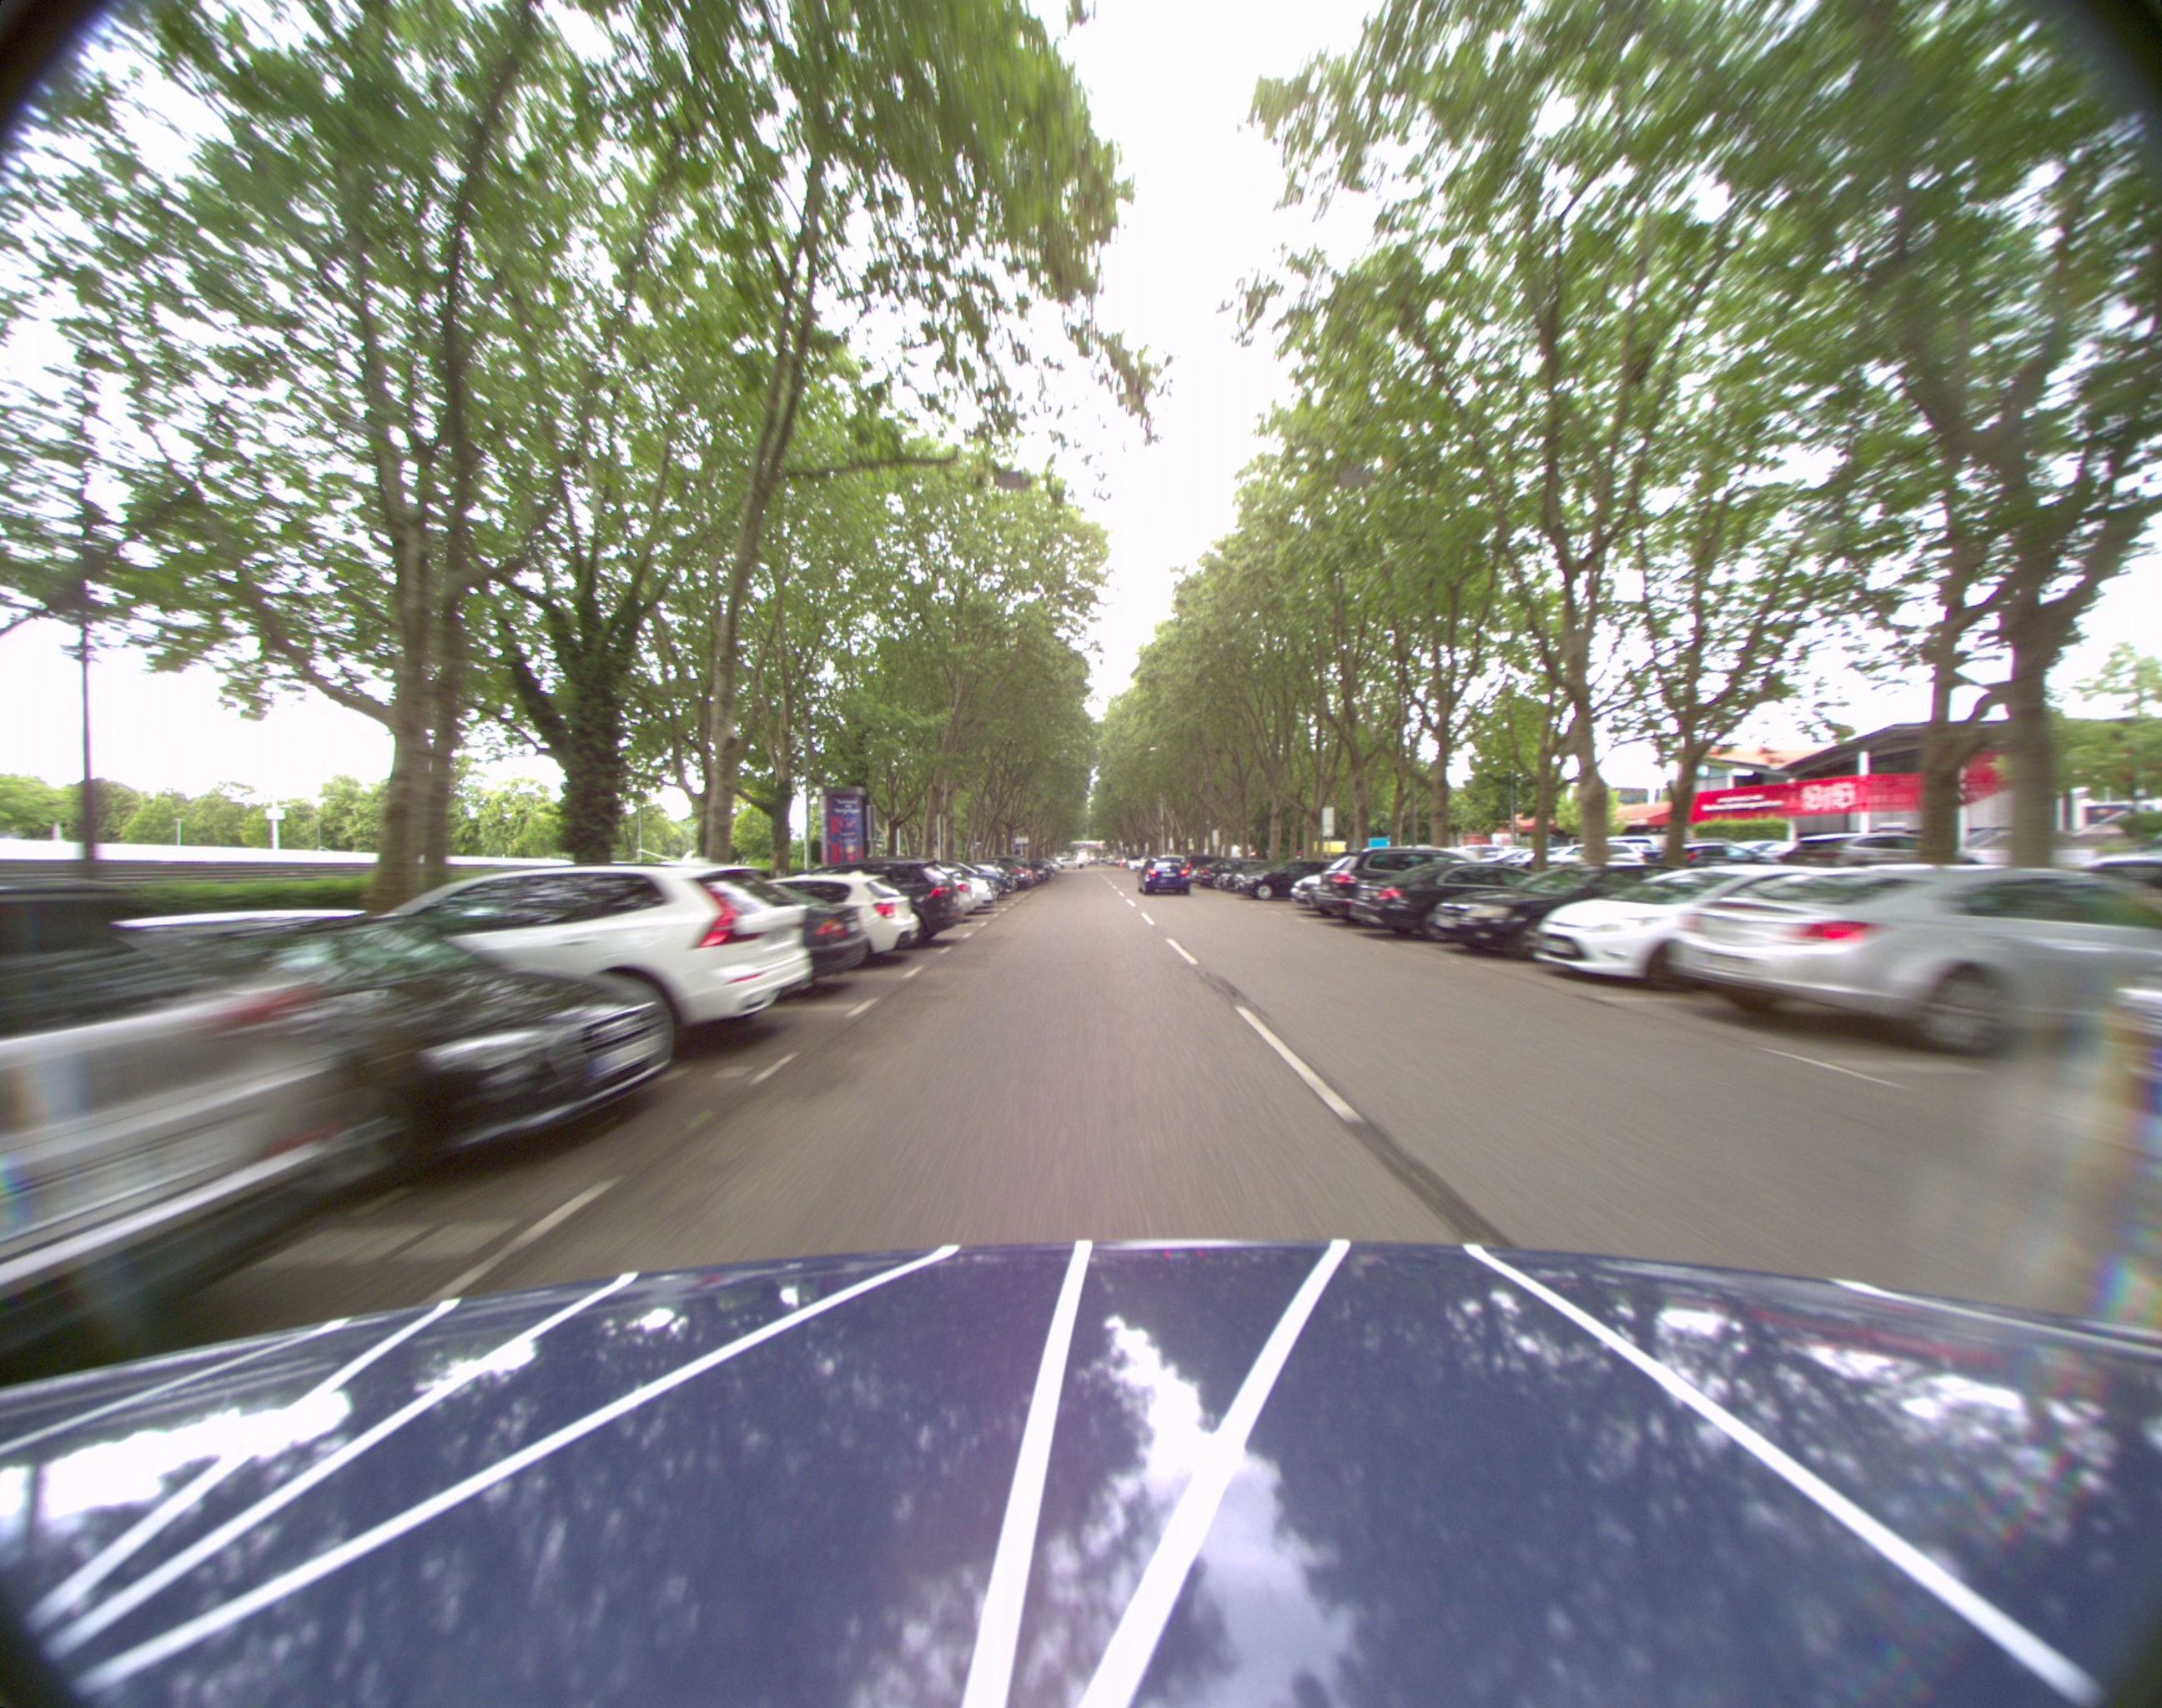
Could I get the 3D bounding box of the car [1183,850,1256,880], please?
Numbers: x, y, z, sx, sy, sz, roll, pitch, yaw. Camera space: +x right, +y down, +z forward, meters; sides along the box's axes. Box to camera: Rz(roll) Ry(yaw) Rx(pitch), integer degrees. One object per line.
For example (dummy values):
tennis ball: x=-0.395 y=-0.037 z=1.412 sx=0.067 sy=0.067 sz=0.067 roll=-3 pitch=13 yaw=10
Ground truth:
car: x=8.027 y=0.625 z=44.310 sx=3.941 sy=1.698 sz=1.752 roll=0 pitch=0 yaw=-1

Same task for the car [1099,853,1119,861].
car: x=7.326 y=0.891 z=196.764 sx=4.919 sy=1.817 sz=2.000 roll=-2 pitch=-2 yaw=-3

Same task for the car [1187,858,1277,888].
car: x=7.160 y=0.899 z=36.253 sx=3.941 sy=1.390 sz=1.703 roll=0 pitch=0 yaw=-1

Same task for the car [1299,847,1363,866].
car: x=23.799 y=0.198 z=72.440 sx=5.362 sy=1.587 sz=2.094 roll=-2 pitch=1 yaw=-1

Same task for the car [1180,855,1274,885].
car: x=7.459 y=0.803 z=38.985 sx=4.475 sy=1.473 sz=1.703 roll=0 pitch=0 yaw=-1

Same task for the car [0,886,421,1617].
car: x=-4.663 y=1.021 z=1.865 sx=4.357 sy=1.624 sz=1.926 roll=-3 pitch=0 yaw=1

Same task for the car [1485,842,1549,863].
car: x=34.944 y=-0.121 z=60.995 sx=4.030 sy=1.542 sz=1.999 roll=-2 pitch=1 yaw=-4

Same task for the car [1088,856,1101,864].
car: x=2.491 y=1.177 z=142.357 sx=1.999 sy=1.375 sz=4.678 roll=-4 pitch=0 yaw=-3

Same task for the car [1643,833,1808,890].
car: x=23.554 y=0.254 z=27.897 sx=4.332 sy=1.850 sz=2.028 roll=-2 pitch=1 yaw=-1

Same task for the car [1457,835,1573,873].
car: x=23.101 y=-0.016 z=40.555 sx=4.955 sy=1.786 sz=2.182 roll=-2 pitch=1 yaw=-2

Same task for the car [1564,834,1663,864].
car: x=34.568 y=-0.336 z=49.435 sx=4.955 sy=1.786 sz=2.182 roll=-2 pitch=1 yaw=-2

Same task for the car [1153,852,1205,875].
car: x=7.911 y=0.768 z=61.746 sx=3.996 sy=1.672 sz=1.855 roll=-2 pitch=1 yaw=1

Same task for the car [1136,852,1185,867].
car: x=7.749 y=0.528 z=74.064 sx=4.420 sy=1.435 sz=2.046 roll=0 pitch=0 yaw=-5

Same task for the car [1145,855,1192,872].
car: x=7.907 y=0.859 z=68.946 sx=3.996 sy=1.445 sz=1.855 roll=-2 pitch=1 yaw=1

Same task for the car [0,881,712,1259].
car: x=-4.866 y=1.083 z=4.487 sx=4.357 sy=1.595 sz=1.926 roll=-3 pitch=0 yaw=1

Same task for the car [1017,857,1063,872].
car: x=-4.266 y=1.121 z=79.427 sx=4.598 sy=1.409 sz=1.719 roll=-2 pitch=0 yaw=3

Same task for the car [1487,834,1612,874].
car: x=23.356 y=-0.002 z=38.019 sx=4.955 sy=1.786 sz=2.182 roll=-2 pitch=1 yaw=-2

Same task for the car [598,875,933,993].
car: x=-4.698 y=1.176 z=11.857 sx=4.358 sy=1.447 sz=1.949 roll=-3 pitch=0 yaw=-1

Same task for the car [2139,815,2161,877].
car: x=34.503 y=-0.299 z=21.859 sx=4.588 sy=1.844 sz=2.297 roll=-2 pitch=1 yaw=5

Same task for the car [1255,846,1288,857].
car: x=34.708 y=-0.451 z=138.427 sx=5.467 sy=2.009 sz=2.393 roll=1 pitch=0 yaw=-2

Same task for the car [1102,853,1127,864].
car: x=6.459 y=0.850 z=146.659 sx=4.492 sy=1.740 sz=2.001 roll=-4 pitch=0 yaw=5

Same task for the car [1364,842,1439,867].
car: x=23.225 y=0.046 z=55.139 sx=4.565 sy=1.710 sz=1.999 roll=1 pitch=0 yaw=-2

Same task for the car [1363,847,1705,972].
car: x=7.021 y=0.817 z=12.137 sx=4.328 sy=1.799 sz=1.867 roll=1 pitch=0 yaw=0

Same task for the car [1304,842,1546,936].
car: x=7.350 y=0.712 z=16.590 sx=4.328 sy=1.785 sz=2.036 roll=-2 pitch=1 yaw=0

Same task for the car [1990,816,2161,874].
car: x=35.900 y=-0.343 z=26.835 sx=4.588 sy=1.844 sz=2.297 roll=-2 pitch=1 yaw=5

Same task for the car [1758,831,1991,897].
car: x=23.473 y=0.262 z=22.635 sx=4.563 sy=1.715 sz=2.296 roll=-2 pitch=1 yaw=-1

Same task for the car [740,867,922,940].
car: x=-5.383 y=1.044 z=16.677 sx=3.443 sy=1.484 sz=1.680 roll=0 pitch=0 yaw=-1

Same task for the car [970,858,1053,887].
car: x=-3.975 y=1.045 z=43.845 sx=4.506 sy=1.420 sz=1.932 roll=-3 pitch=0 yaw=1

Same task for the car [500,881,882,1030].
car: x=-4.616 y=1.171 z=9.440 sx=3.740 sy=1.394 sz=1.776 roll=-3 pitch=0 yaw=-1

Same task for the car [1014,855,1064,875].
car: x=-3.966 y=1.029 z=72.012 sx=4.535 sy=1.613 sz=2.054 roll=-2 pitch=0 yaw=1

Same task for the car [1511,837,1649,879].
car: x=23.051 y=0.190 z=35.234 sx=4.955 sy=1.786 sz=2.183 roll=-1 pitch=0 yaw=-2

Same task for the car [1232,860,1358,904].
car: x=7.448 y=0.945 z=26.767 sx=3.987 sy=1.412 sz=1.756 roll=1 pitch=0 yaw=3

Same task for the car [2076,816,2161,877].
car: x=35.574 y=-0.307 z=24.134 sx=4.588 sy=1.844 sz=2.297 roll=-2 pitch=1 yaw=5

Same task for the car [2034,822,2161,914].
car: x=23.353 y=0.207 z=15.680 sx=4.530 sy=1.752 sz=2.296 roll=-2 pitch=1 yaw=-1
